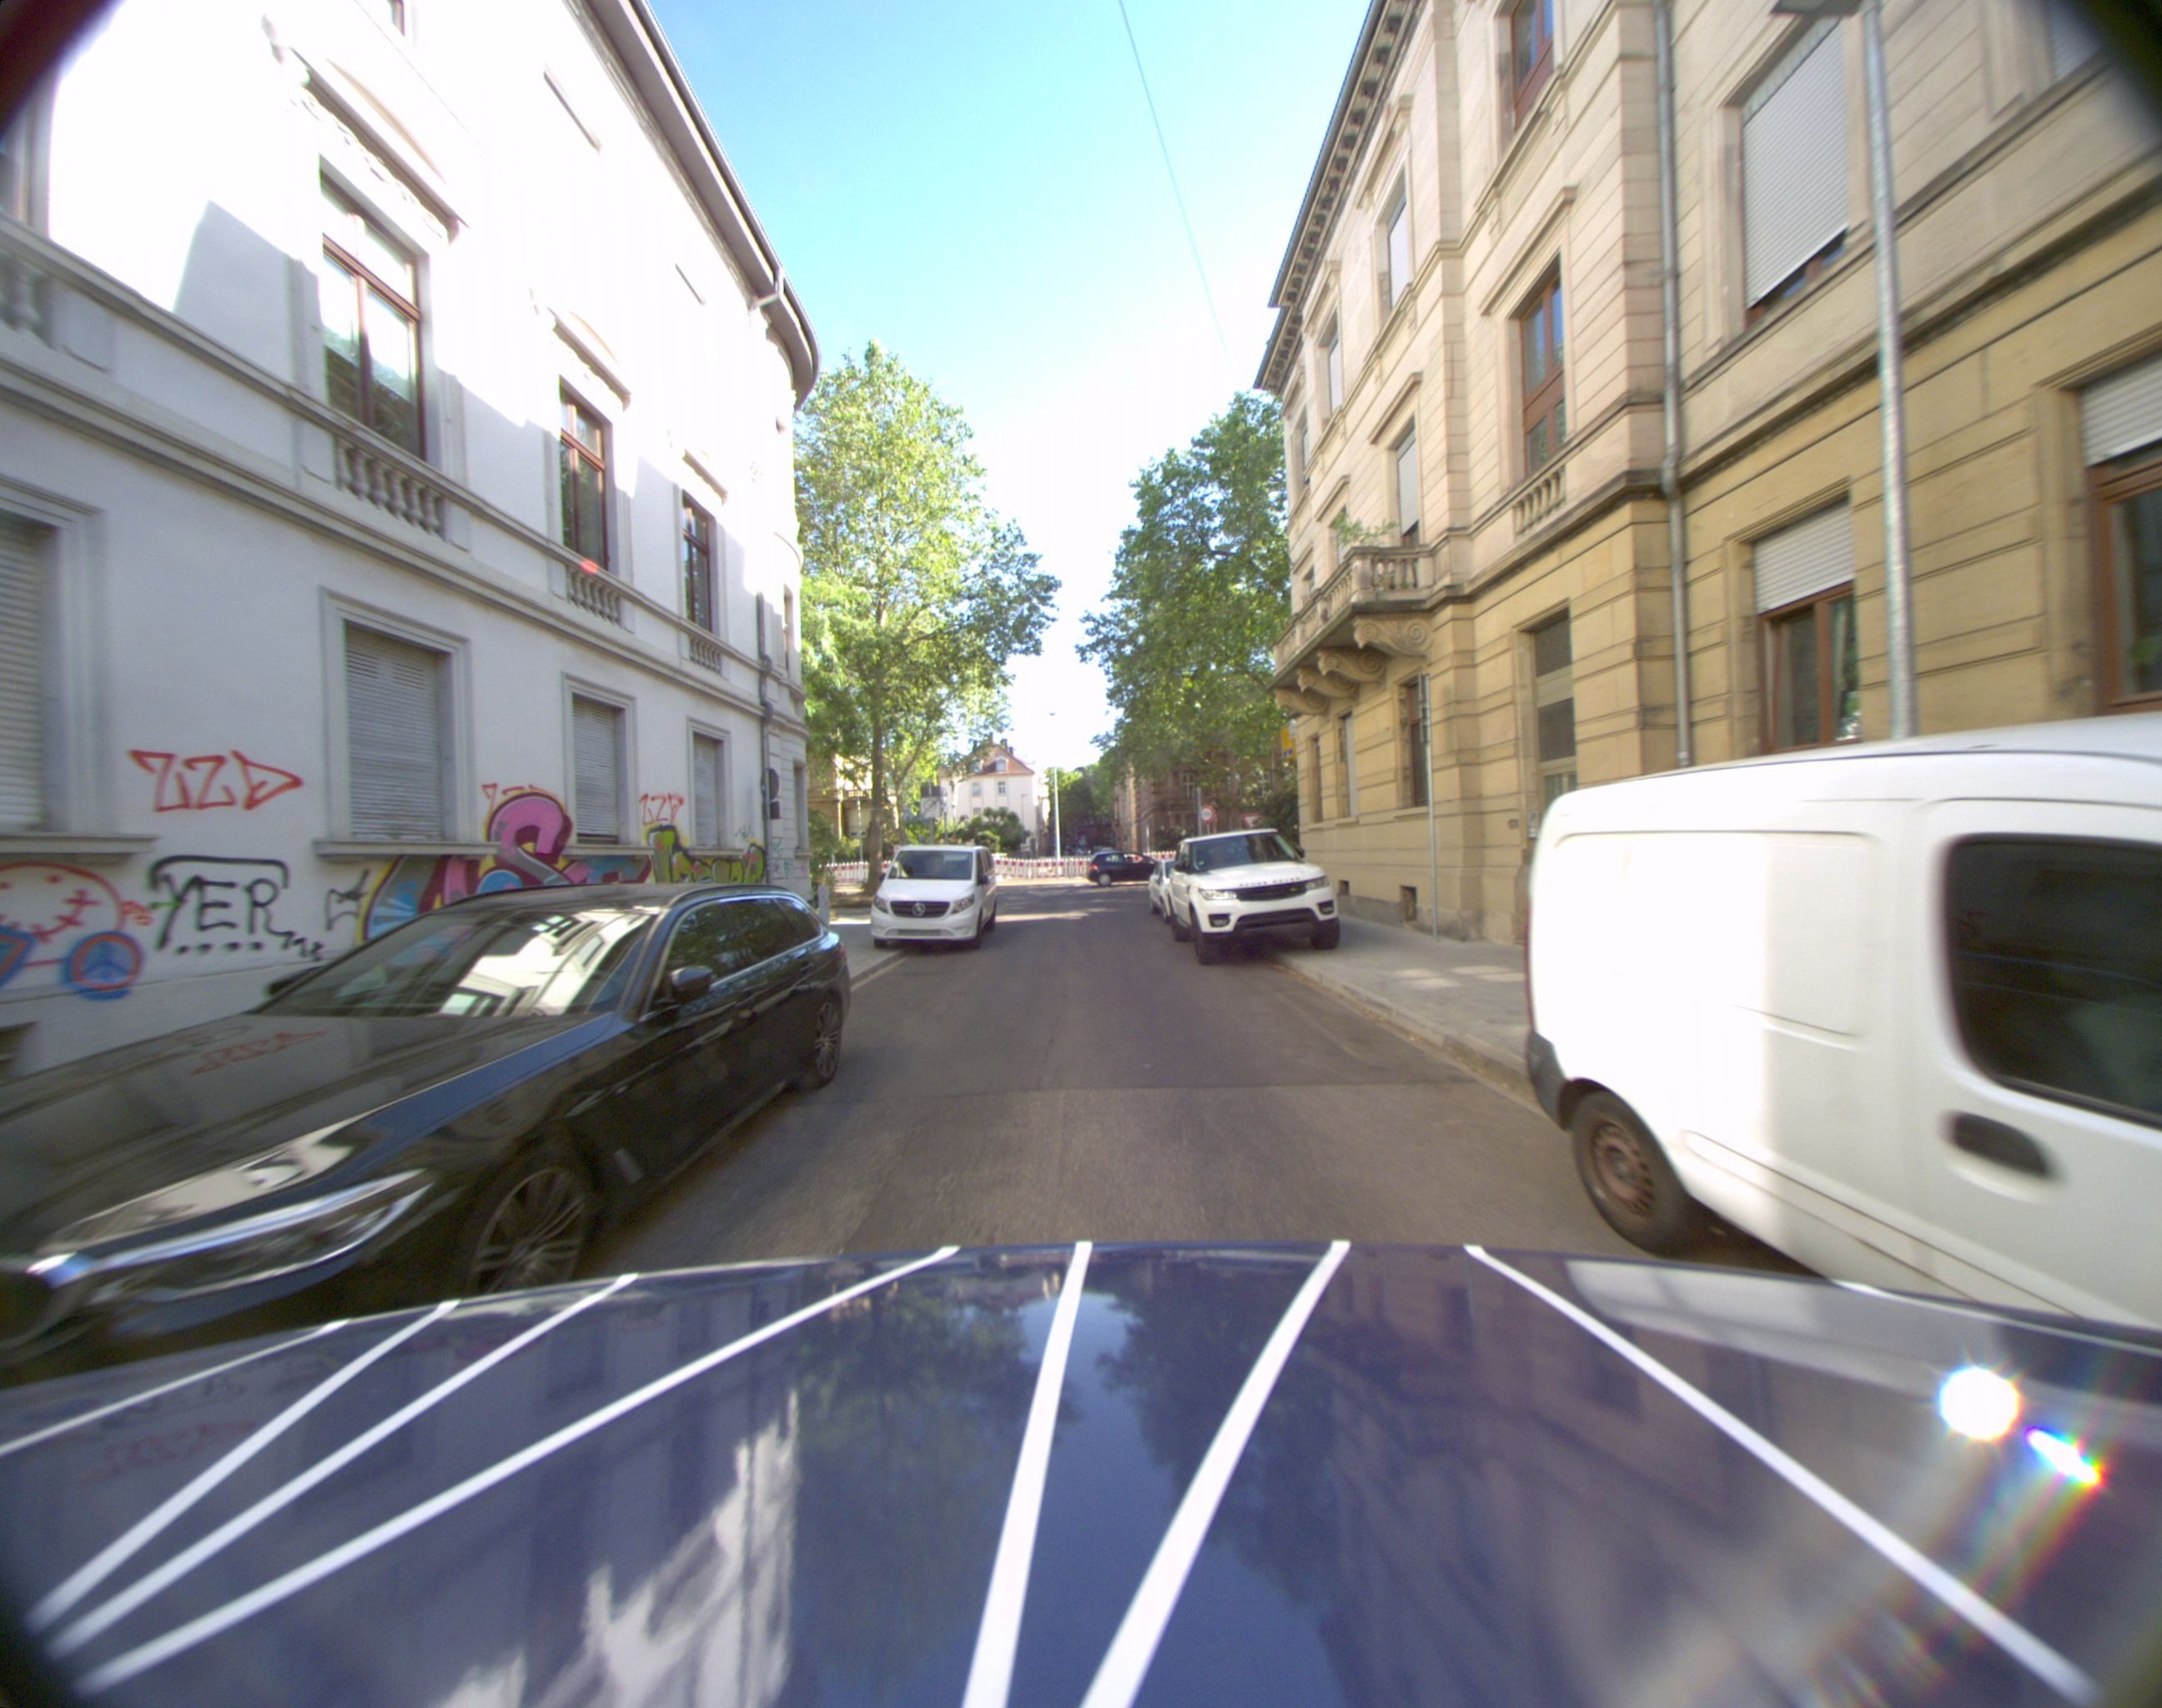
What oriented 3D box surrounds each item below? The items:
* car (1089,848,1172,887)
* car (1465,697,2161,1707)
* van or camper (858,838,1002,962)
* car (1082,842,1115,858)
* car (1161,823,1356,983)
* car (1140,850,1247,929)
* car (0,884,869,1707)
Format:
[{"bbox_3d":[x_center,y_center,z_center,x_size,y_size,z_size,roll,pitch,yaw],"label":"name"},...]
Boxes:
[{"bbox_3d":[2.071,0.552,32.332,3.290,1.447,1.492,-3,1,-4],"label":"car"},{"bbox_3d":[2.709,0.585,1.442,1.749,1.865,4.090,-6,0,0],"label":"car"},{"bbox_3d":[-2.794,0.781,15.250,1.899,2.002,5.030,-2,0,-1],"label":"van or camper"},{"bbox_3d":[2.112,-0.478,91.917,3.801,1.726,1.622,-2,0,0],"label":"car"},{"bbox_3d":[2.549,0.620,12.126,2.027,2.002,4.543,-2,1,1],"label":"car"},{"bbox_3d":[2.631,0.769,18.655,1.872,1.552,3.941,-4,1,-1],"label":"car"},{"bbox_3d":[-2.697,1.057,3.798,1.819,1.510,4.727,-4,0,0],"label":"car"}]
